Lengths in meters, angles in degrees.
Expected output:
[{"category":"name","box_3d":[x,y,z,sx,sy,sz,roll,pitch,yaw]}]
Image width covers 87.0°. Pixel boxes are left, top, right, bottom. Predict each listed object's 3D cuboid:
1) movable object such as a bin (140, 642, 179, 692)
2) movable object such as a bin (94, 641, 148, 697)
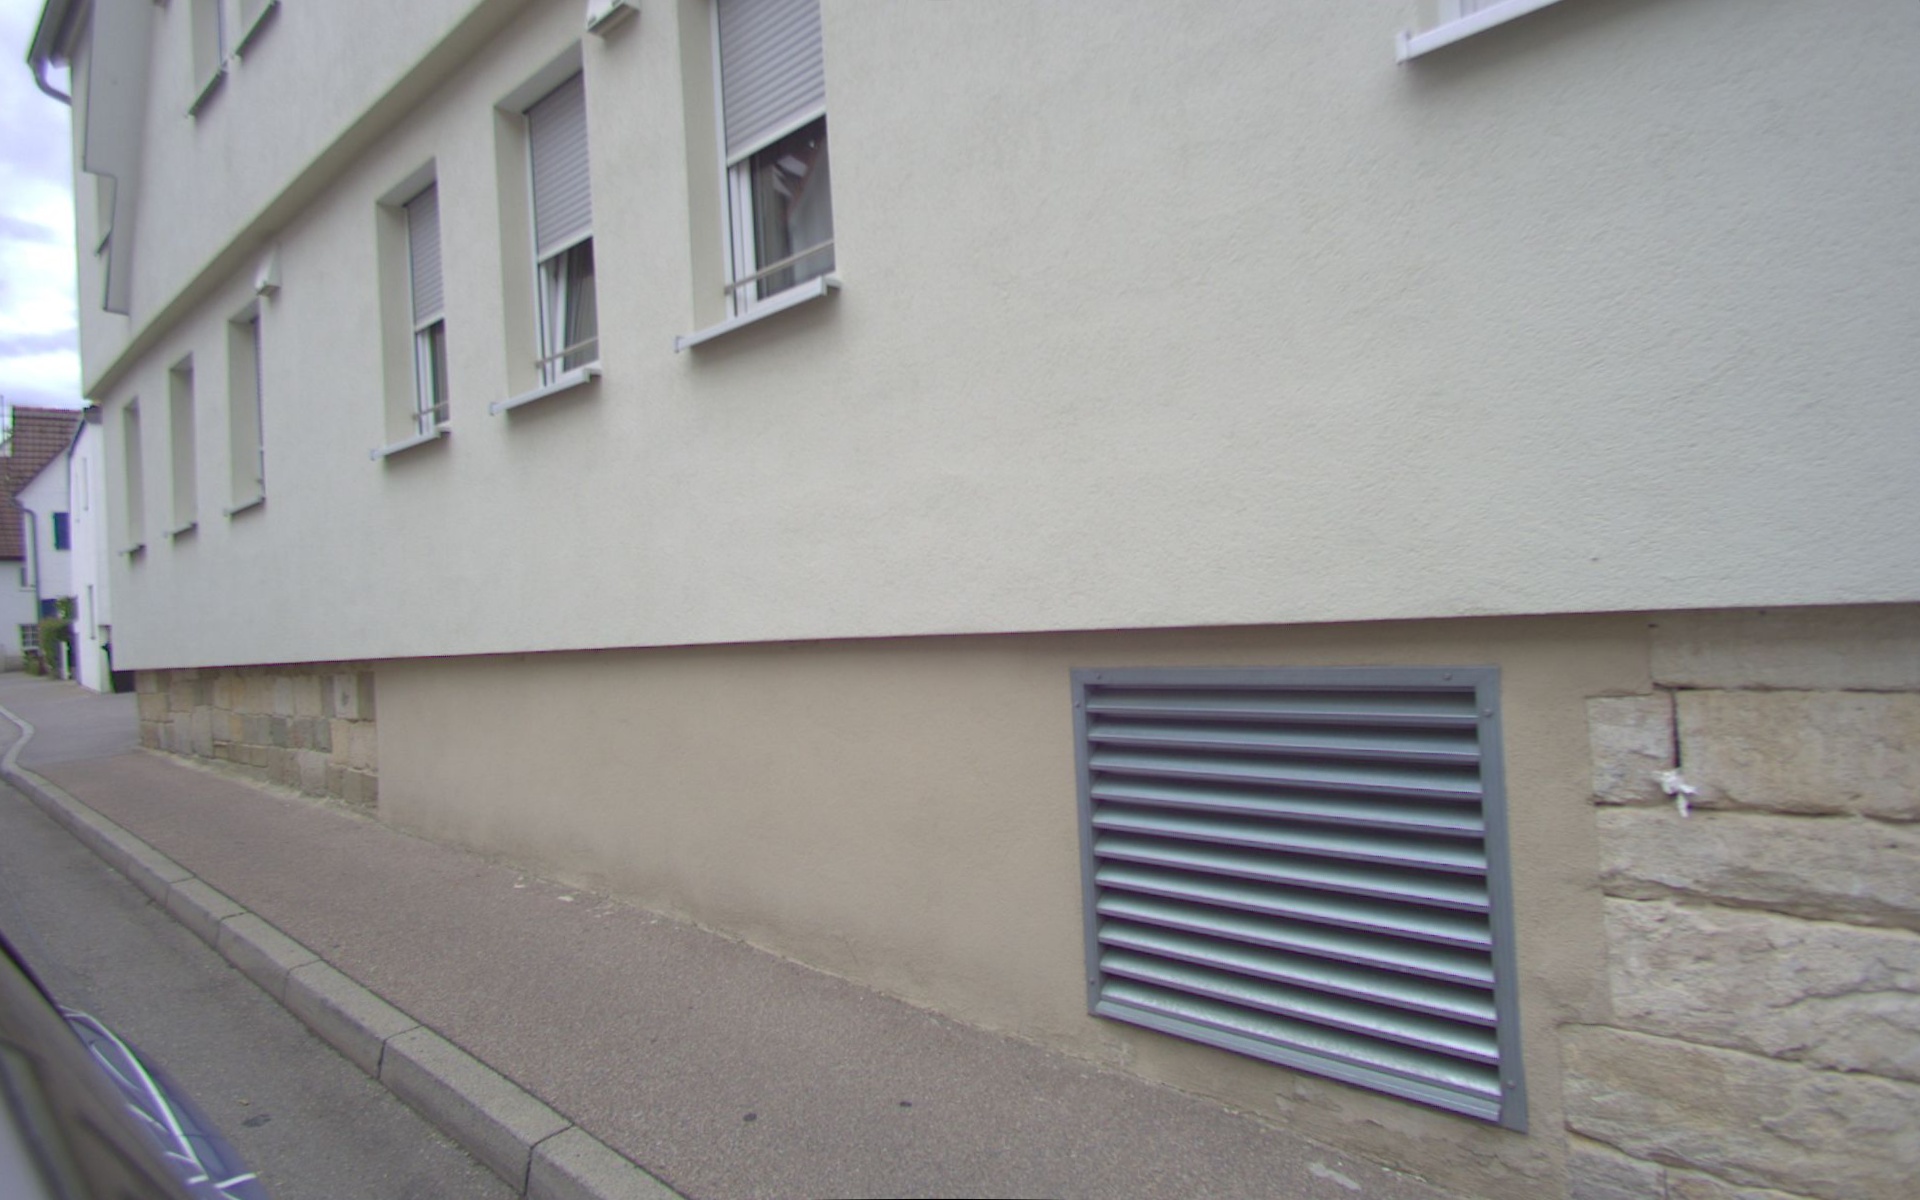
[{"category":"movable object such as a bin","box_3d":[-16.562,1.378,20.937,0.491,0.941,0.626,-6,1,-31]},{"category":"movable object such as a bin","box_3d":[-17.096,1.384,20.629,0.631,1.039,0.797,-6,1,-29]}]
